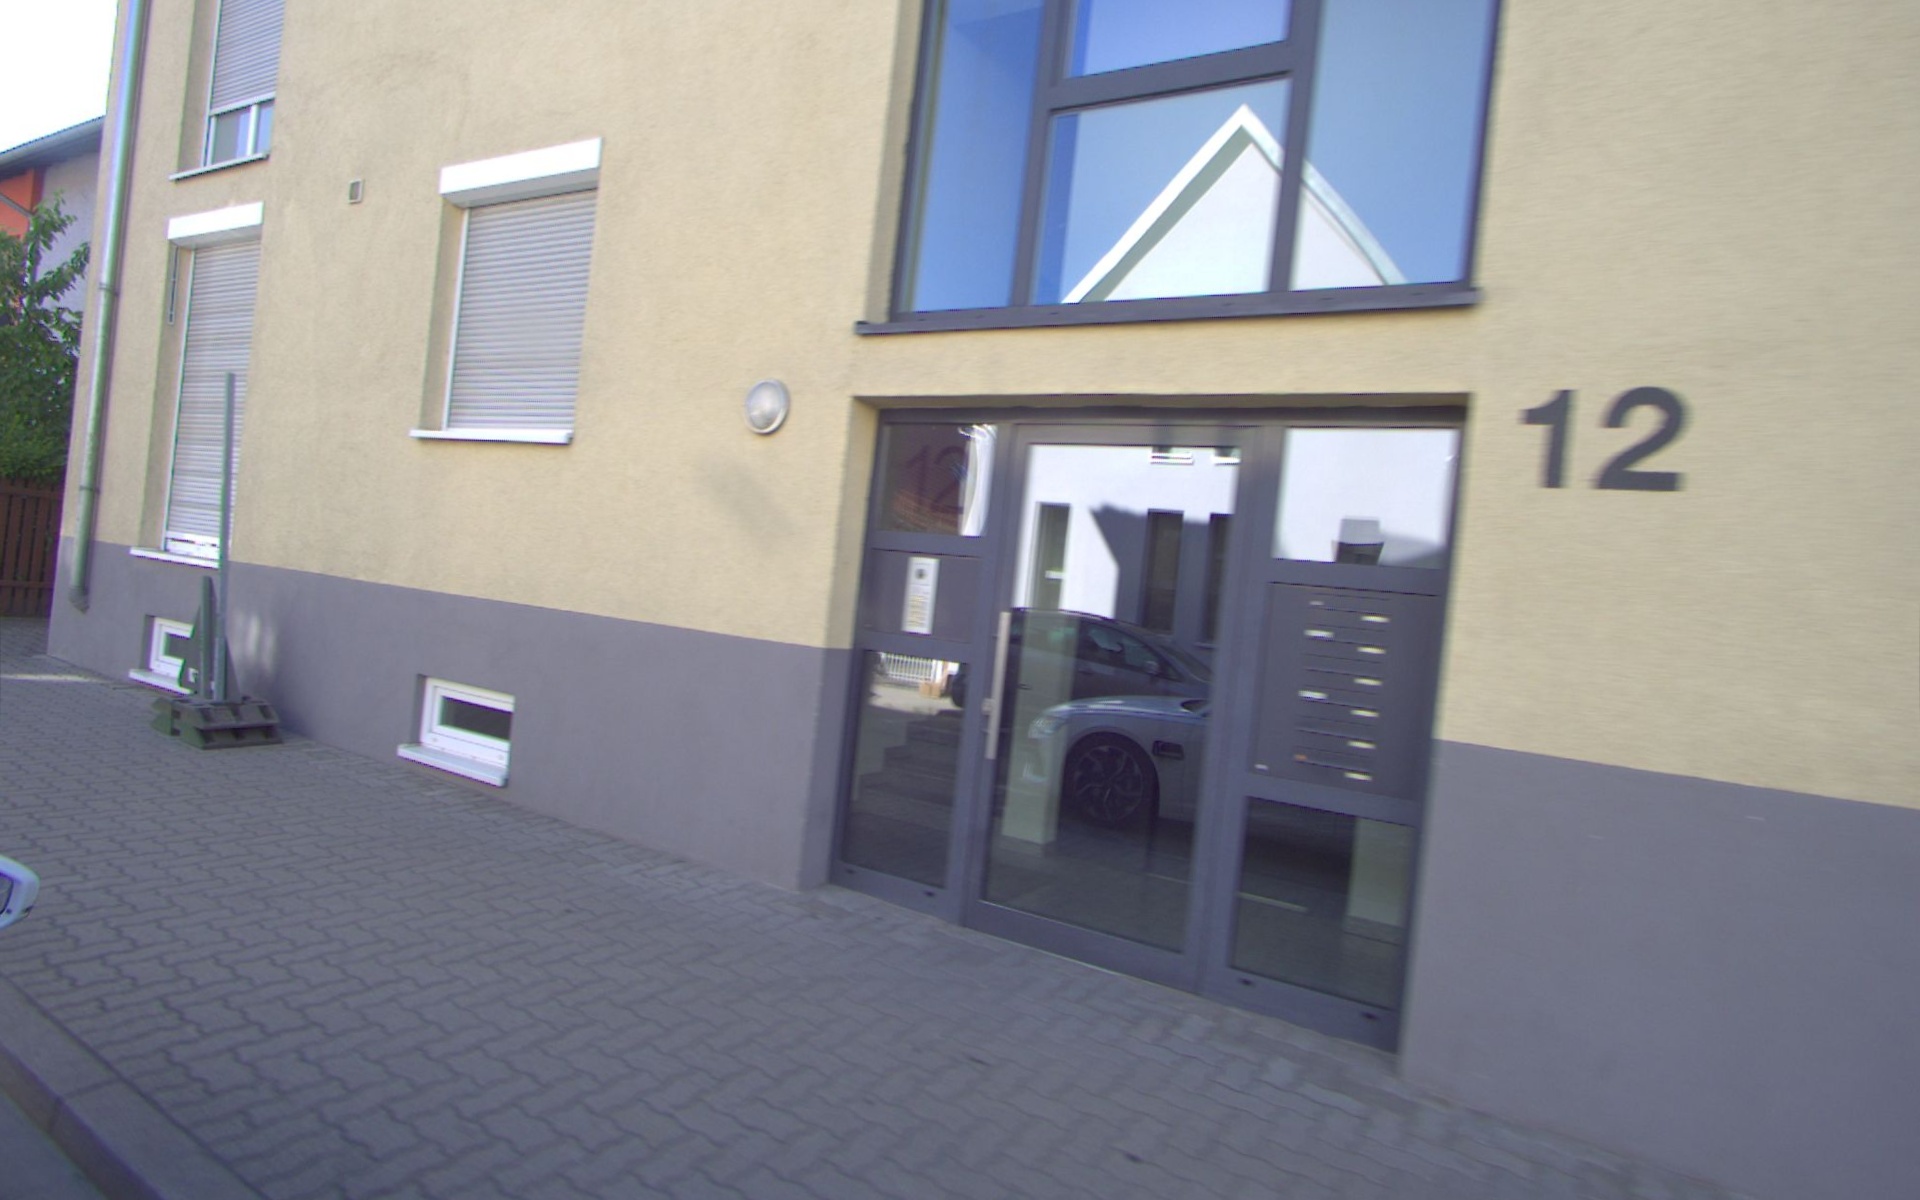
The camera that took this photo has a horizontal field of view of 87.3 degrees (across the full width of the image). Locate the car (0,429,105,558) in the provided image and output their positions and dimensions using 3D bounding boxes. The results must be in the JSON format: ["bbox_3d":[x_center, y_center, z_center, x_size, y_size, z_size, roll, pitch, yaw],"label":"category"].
[{"bbox_3d":[-22.453,-2.521,21.629,1.934,2.689,5.810,5,0,29],"label":"car"}]
